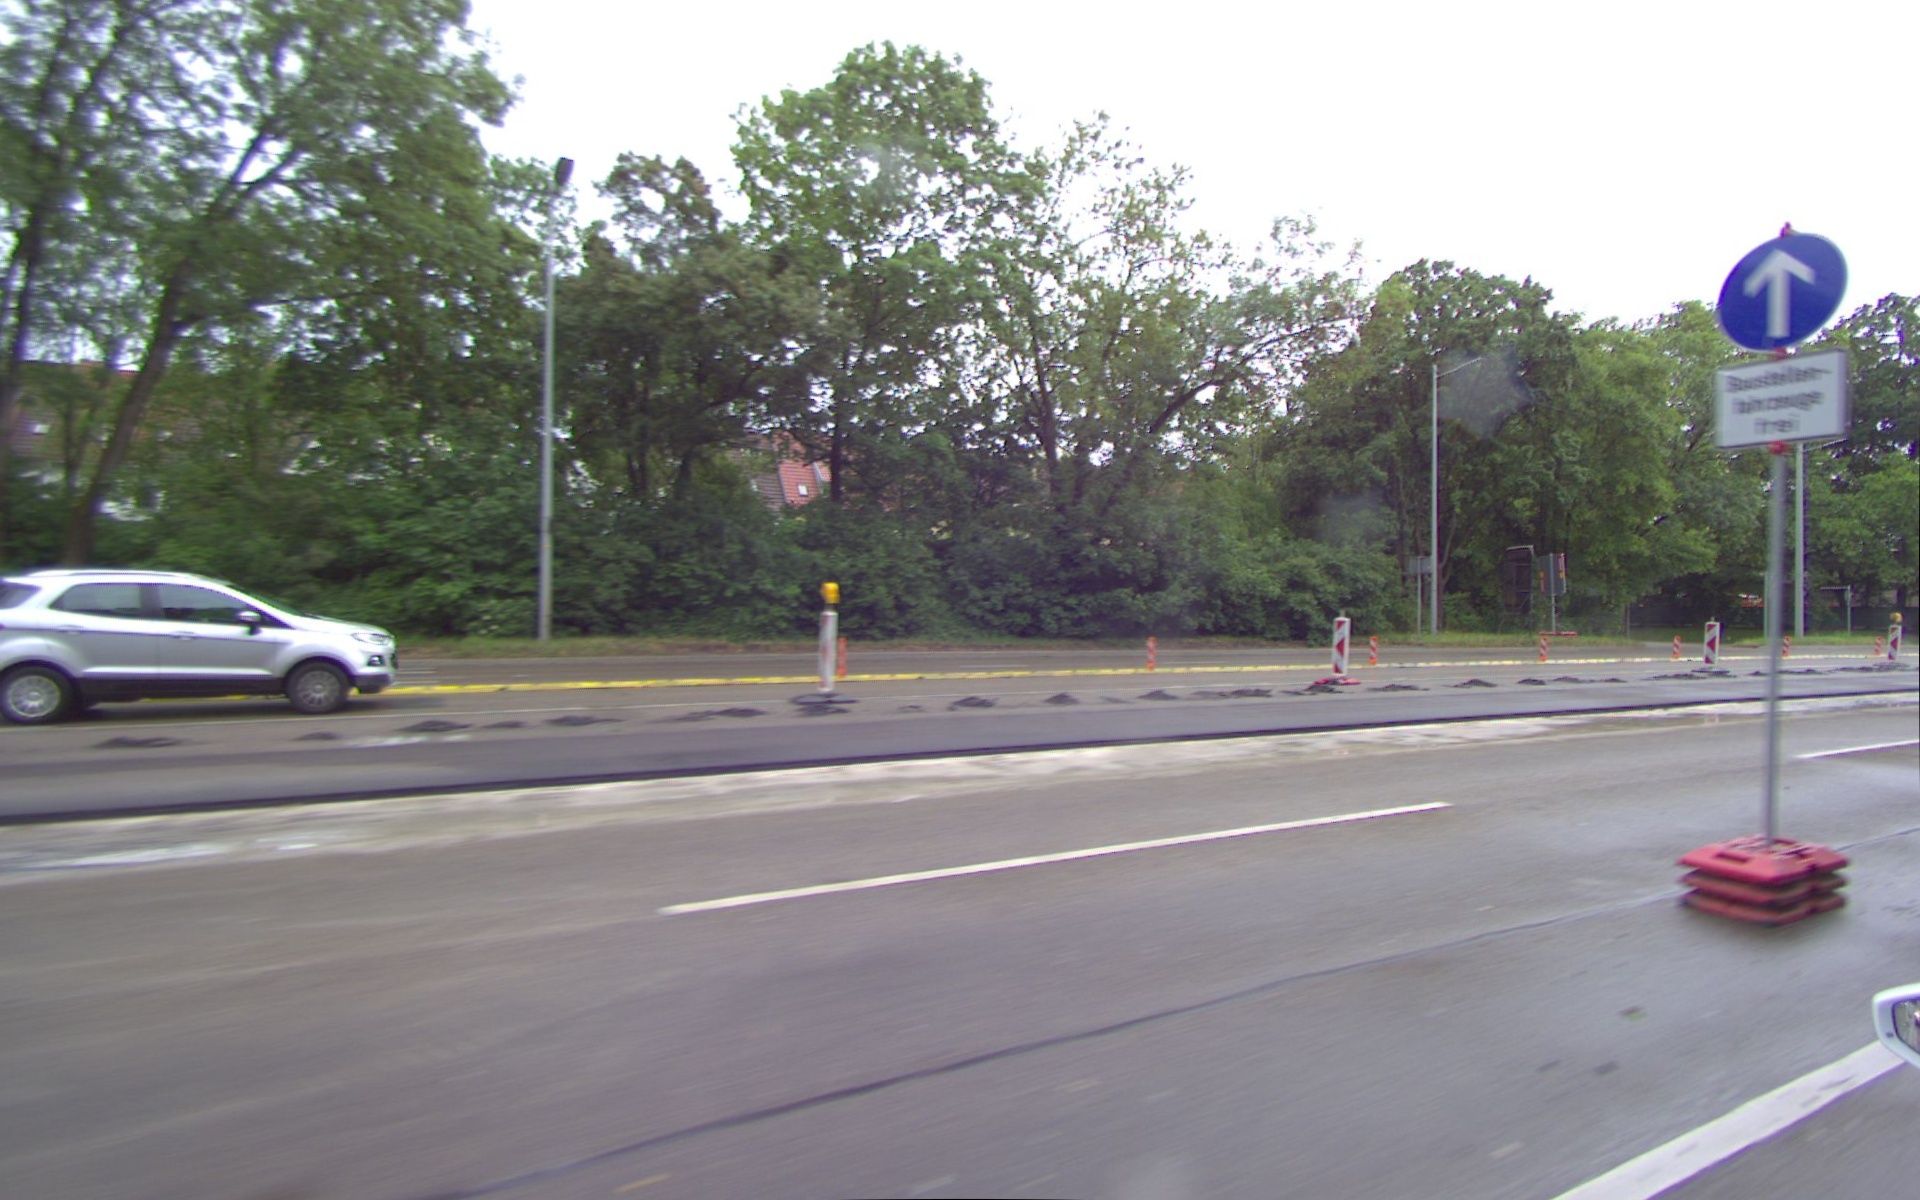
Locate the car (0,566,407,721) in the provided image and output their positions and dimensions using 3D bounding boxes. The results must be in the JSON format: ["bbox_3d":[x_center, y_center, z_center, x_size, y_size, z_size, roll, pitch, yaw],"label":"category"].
[{"bbox_3d":[-8.989,0.455,11.796,4.309,1.585,1.881,1,1,-28],"label":"car"}]
